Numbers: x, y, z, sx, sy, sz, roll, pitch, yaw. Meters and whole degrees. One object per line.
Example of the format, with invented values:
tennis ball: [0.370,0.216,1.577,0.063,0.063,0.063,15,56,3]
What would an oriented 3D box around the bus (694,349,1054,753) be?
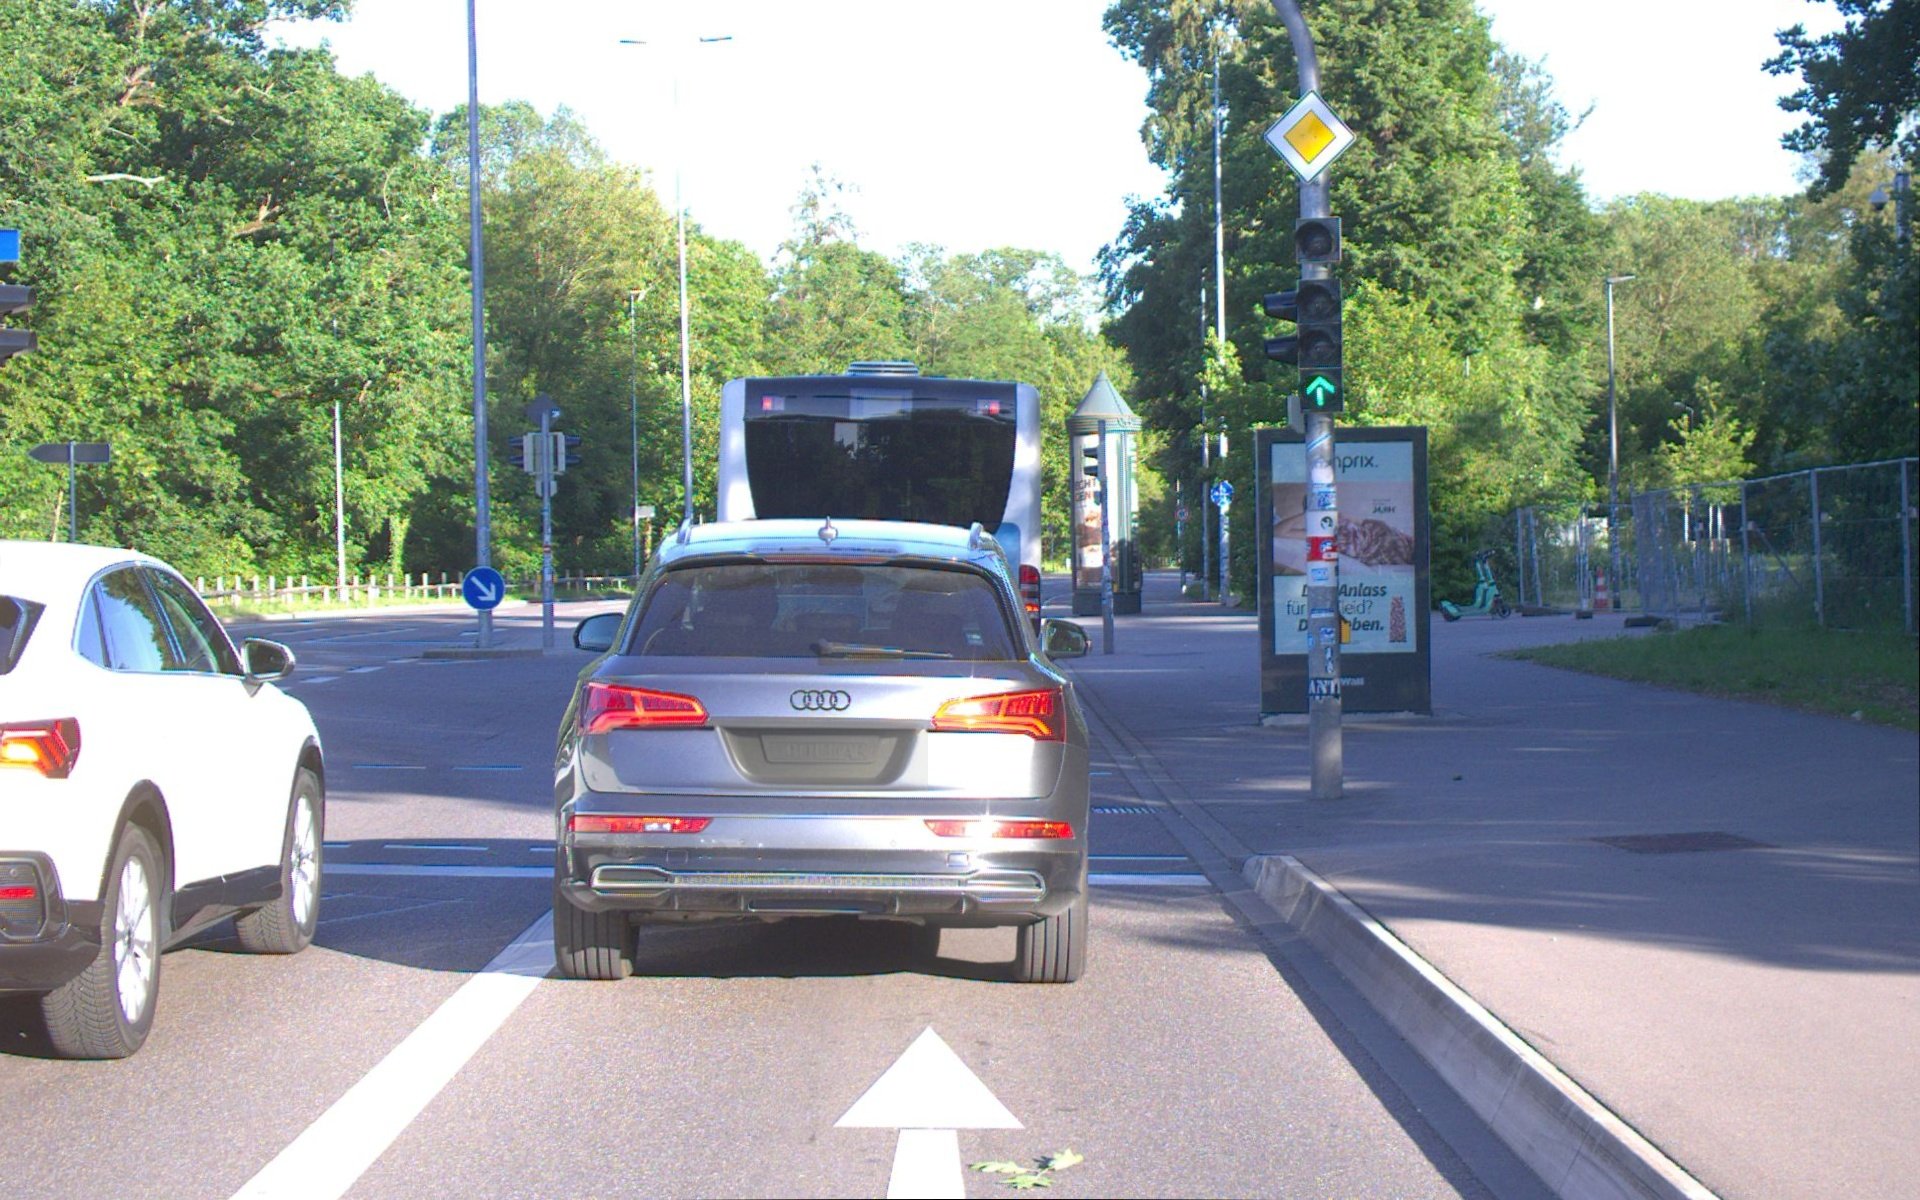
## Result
bus: [-0.726,-0.440,32.157,2.689,3.032,12.042,1,1,-1]

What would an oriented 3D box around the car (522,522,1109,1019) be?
car: [-0.500,0.522,13.517,1.893,1.600,4.545,1,1,-1]

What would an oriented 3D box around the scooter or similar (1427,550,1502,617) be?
scooter or similar: [9.035,-0.299,61.589,1.266,1.143,0.394,-2,-1,8]

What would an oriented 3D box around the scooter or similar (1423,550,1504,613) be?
scooter or similar: [9.540,-0.347,65.124,1.441,1.163,0.393,-2,-1,29]

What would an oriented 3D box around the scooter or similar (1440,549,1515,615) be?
scooter or similar: [9.363,-0.321,62.188,1.246,1.163,0.393,-1,-1,25]

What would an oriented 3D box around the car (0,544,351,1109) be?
car: [-3.286,0.572,11.356,1.833,1.507,4.301,0,1,-1]
